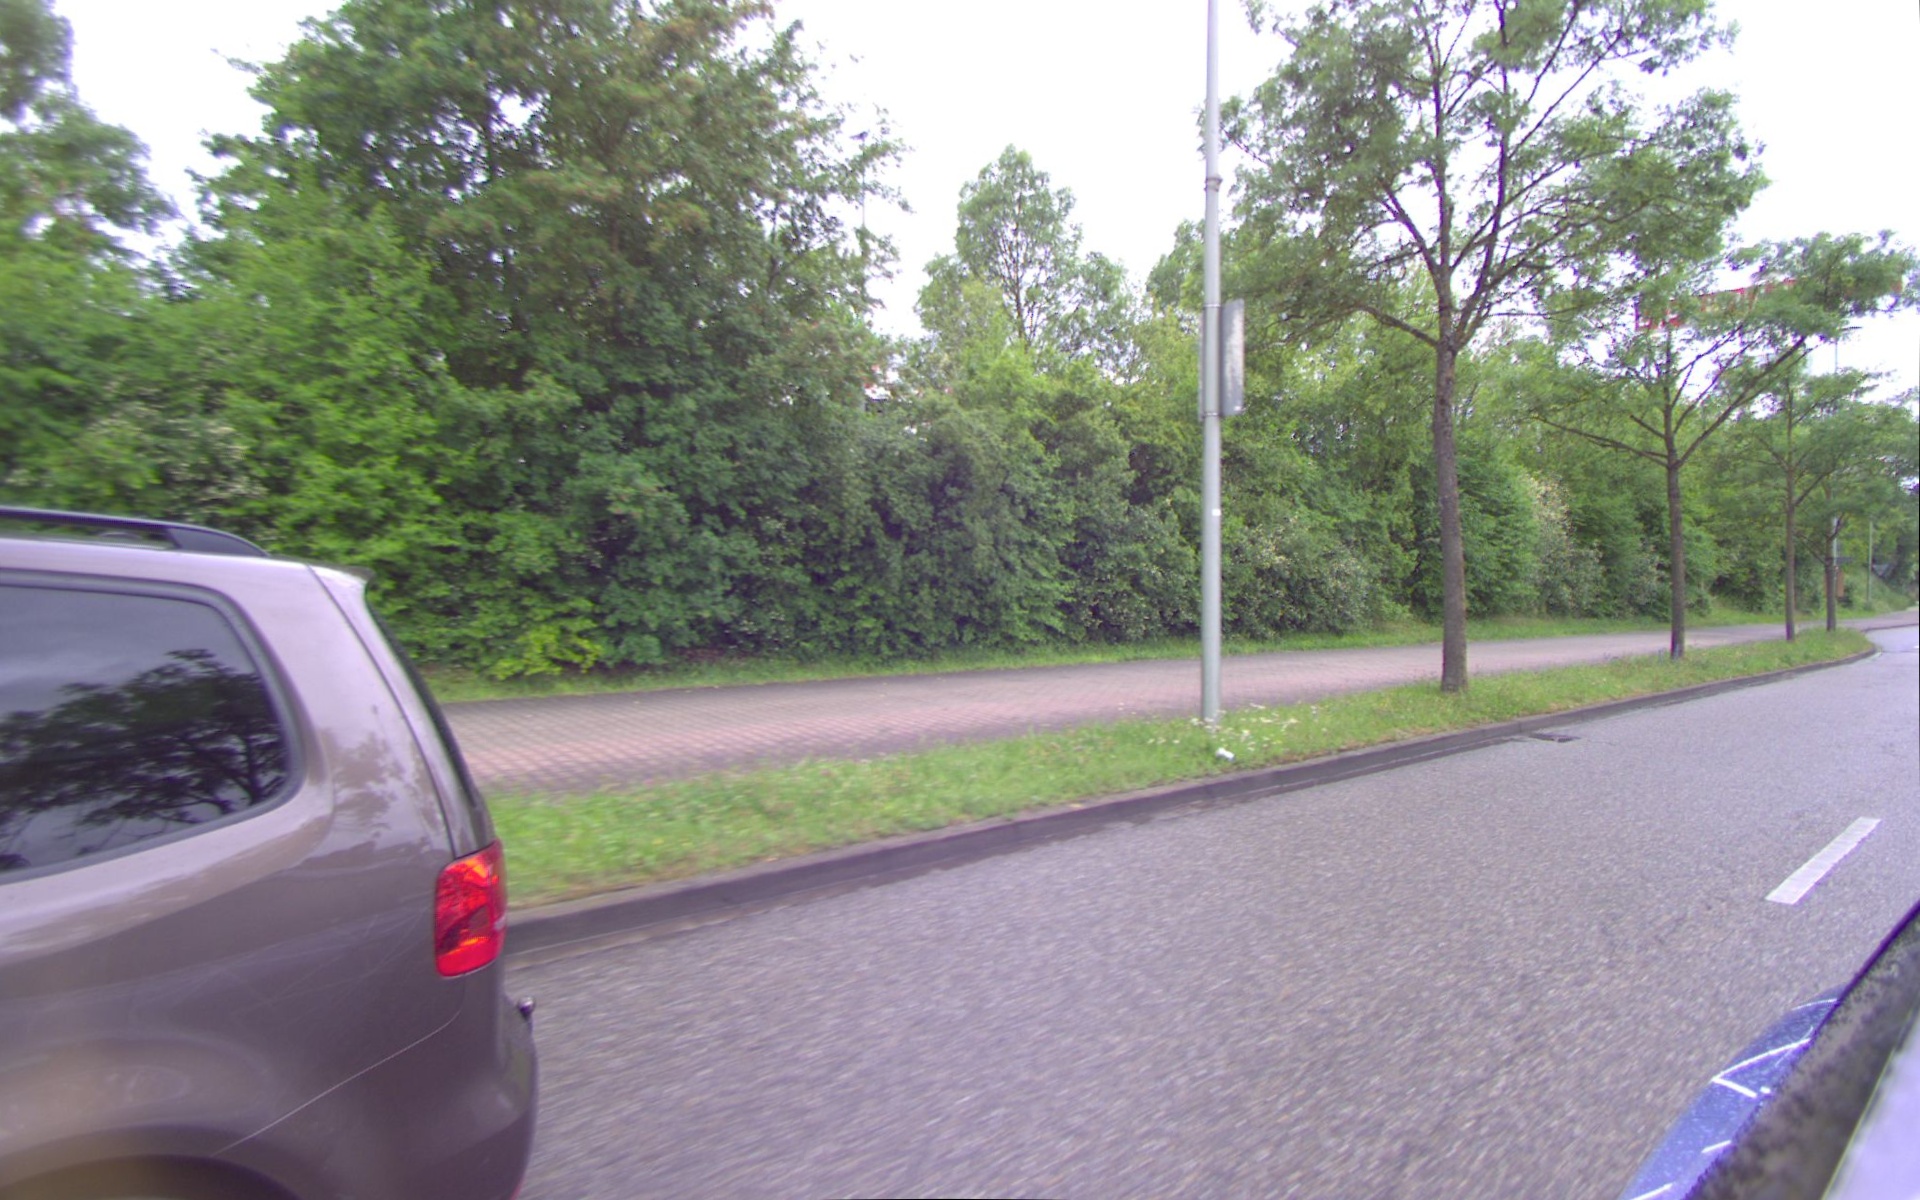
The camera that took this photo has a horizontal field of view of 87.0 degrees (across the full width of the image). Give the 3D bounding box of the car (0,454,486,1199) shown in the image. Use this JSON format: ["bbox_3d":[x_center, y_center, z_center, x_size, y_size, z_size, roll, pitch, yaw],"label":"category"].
[{"bbox_3d":[-2.904,0.607,1.056,4.058,1.617,1.716,0,0,-41],"label":"car"}]
